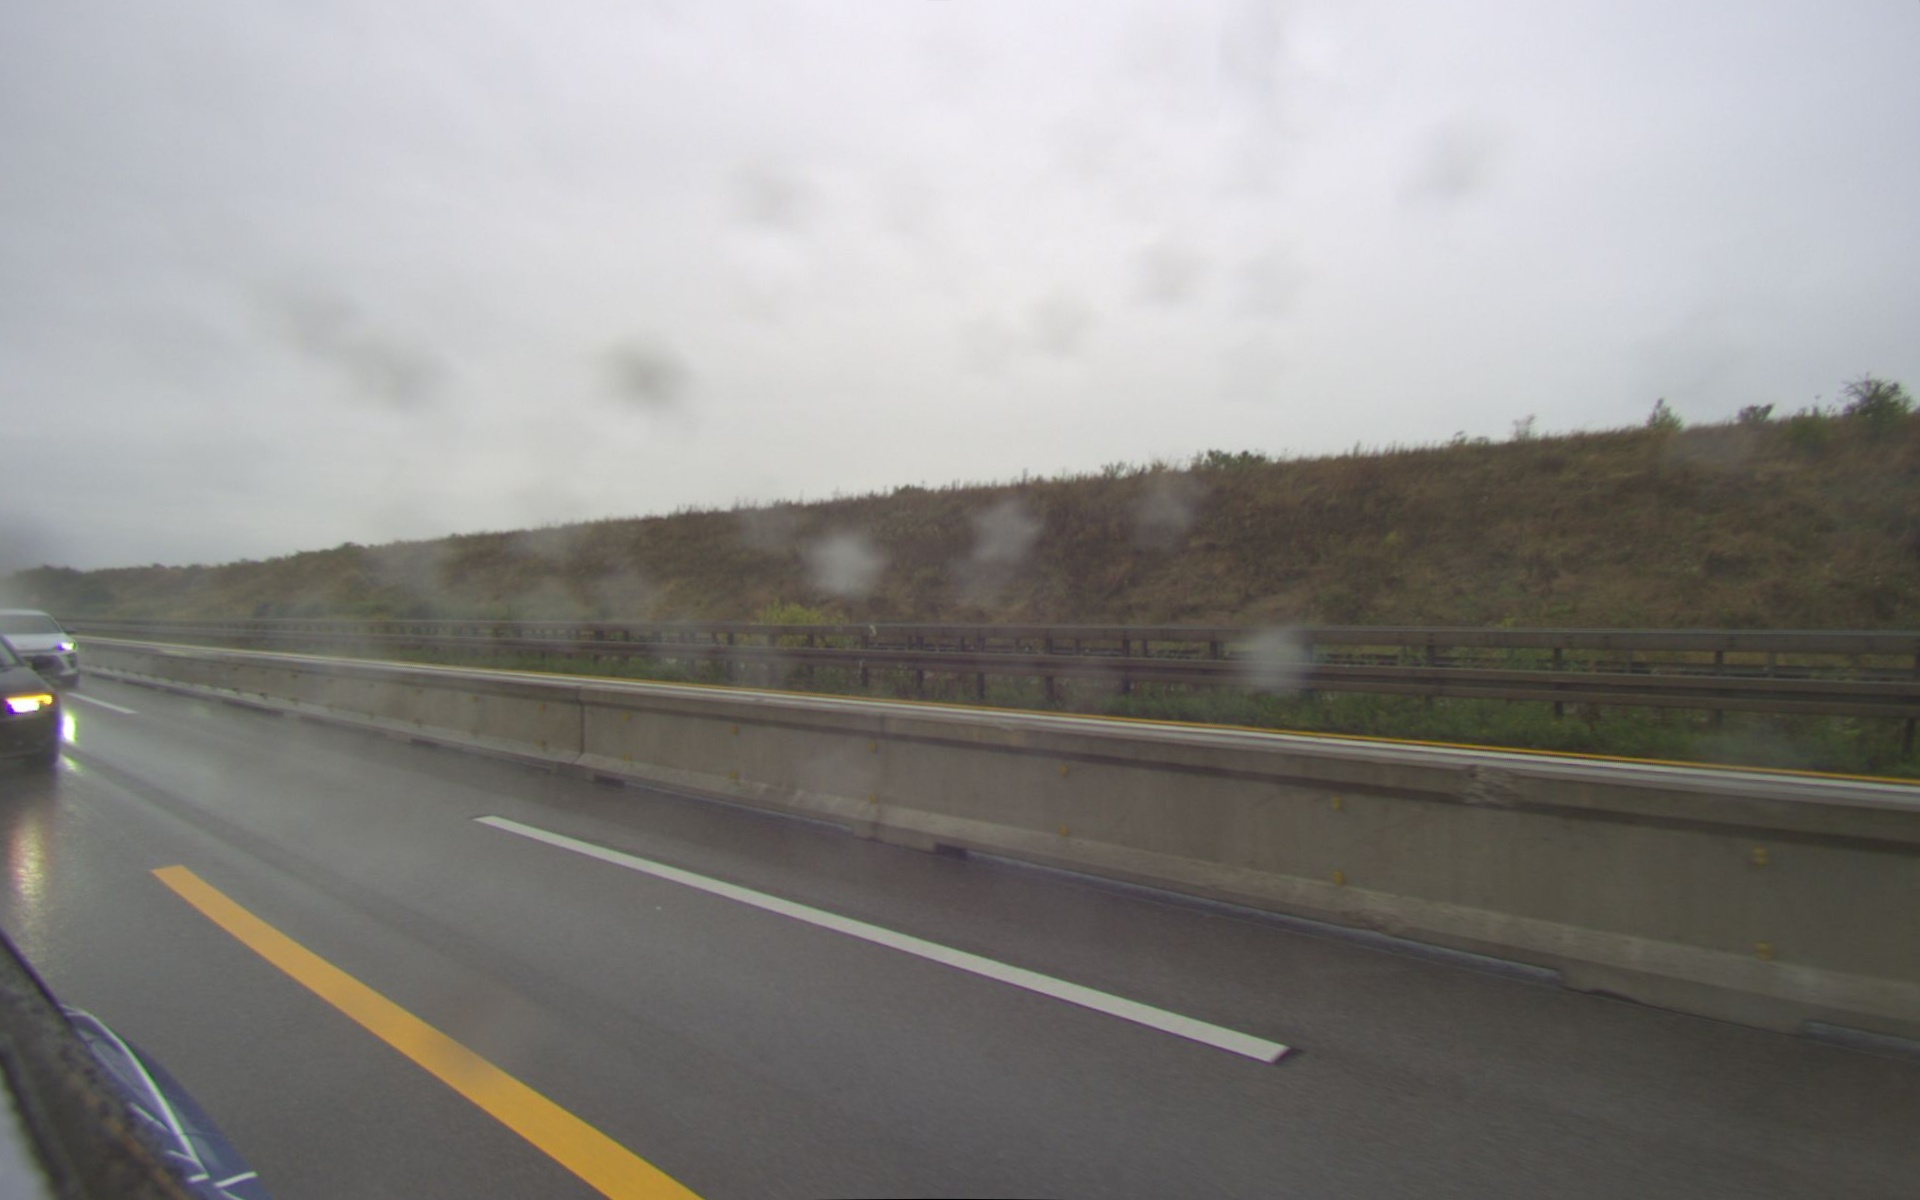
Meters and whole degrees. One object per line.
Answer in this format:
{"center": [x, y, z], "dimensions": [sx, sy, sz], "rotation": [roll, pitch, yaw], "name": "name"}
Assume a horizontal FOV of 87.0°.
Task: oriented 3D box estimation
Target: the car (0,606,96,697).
{"center": [-19.401, 1.002, 20.798], "dimensions": [3.998, 1.693, 1.946], "rotation": [-1, 0, 41], "name": "car"}

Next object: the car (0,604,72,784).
{"center": [-10.359, 0.835, 9.896], "dimensions": [4.793, 1.539, 1.919], "rotation": [-1, 0, 41], "name": "car"}
